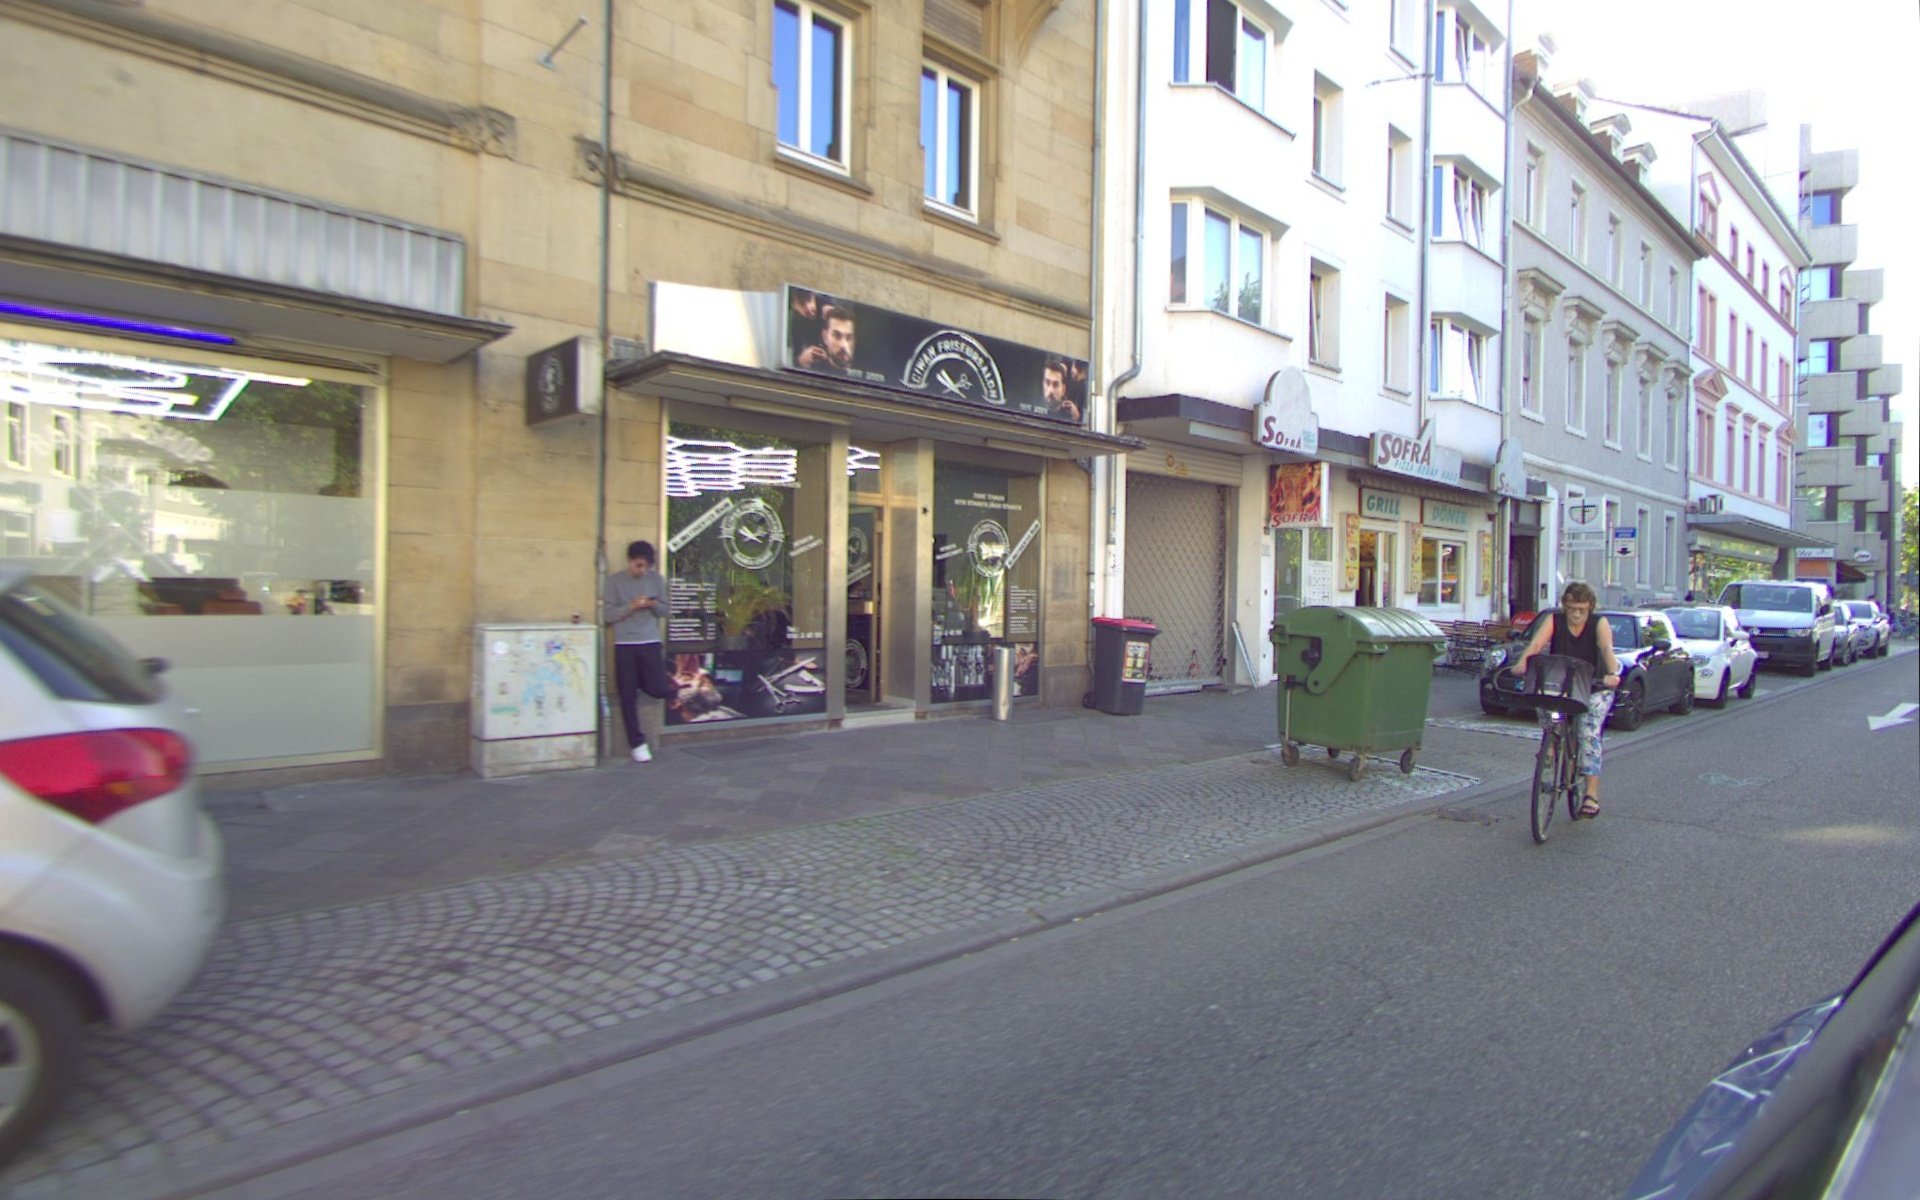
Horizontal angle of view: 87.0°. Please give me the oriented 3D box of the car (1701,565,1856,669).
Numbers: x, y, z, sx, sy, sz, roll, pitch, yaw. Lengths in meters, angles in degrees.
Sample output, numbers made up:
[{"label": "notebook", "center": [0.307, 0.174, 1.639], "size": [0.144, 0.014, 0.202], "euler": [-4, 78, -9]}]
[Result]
[{"label": "car", "center": [18.158, 0.298, 22.348], "size": [5.017, 1.977, 1.996], "euler": [0, 3, -44]}]

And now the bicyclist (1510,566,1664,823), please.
[{"label": "bicyclist", "center": [4.231, 0.582, 6.821], "size": [0.893, 1.591, 0.657], "euler": [0, 0, -42]}]

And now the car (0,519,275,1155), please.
[{"label": "car", "center": [-4.119, 0.544, 2.274], "size": [4.055, 1.593, 1.977], "euler": [0, 3, -42]}]

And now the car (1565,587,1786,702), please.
[{"label": "car", "center": [11.421, 0.604, 16.072], "size": [3.931, 1.509, 1.997], "euler": [0, 3, -42]}]

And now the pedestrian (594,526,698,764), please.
[{"label": "pedestrian", "center": [-2.443, 0.329, 7.879], "size": [0.534, 1.764, 0.589], "euler": [0, 0, 44]}]

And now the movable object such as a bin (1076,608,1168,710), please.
[{"label": "movable object such as a bin", "center": [1.841, 0.659, 11.525], "size": [0.650, 1.061, 0.727], "euler": [3, 2, -32]}]

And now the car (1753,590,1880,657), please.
[{"label": "car", "center": [21.844, 0.538, 25.775], "size": [3.804, 1.470, 1.996], "euler": [0, 3, -43]}]

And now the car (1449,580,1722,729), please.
[{"label": "car", "center": [8.355, 0.589, 13.405], "size": [3.931, 1.593, 1.997], "euler": [0, 3, -42]}]

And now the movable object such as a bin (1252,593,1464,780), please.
[{"label": "movable object such as a bin", "center": [3.539, 0.692, 9.014], "size": [1.385, 1.439, 1.148], "euler": [0, 4, -38]}]

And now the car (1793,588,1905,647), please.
[{"label": "car", "center": [25.436, 0.437, 28.910], "size": [3.889, 1.470, 1.996], "euler": [0, 3, -43]}]

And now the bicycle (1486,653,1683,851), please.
[{"label": "bicycle", "center": [4.280, 0.952, 6.883], "size": [1.804, 1.081, 0.665], "euler": [0, 0, -42]}]

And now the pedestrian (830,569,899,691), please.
[{"label": "pedestrian", "center": [-1.192, 0.357, 12.637], "size": [0.799, 1.441, 0.696], "euler": [2, 2, -5]}]

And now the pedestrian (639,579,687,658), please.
[{"label": "pedestrian", "center": [-4.916, 0.297, 16.746], "size": [0.525, 1.257, 0.544], "euler": [3, 2, 16]}]
